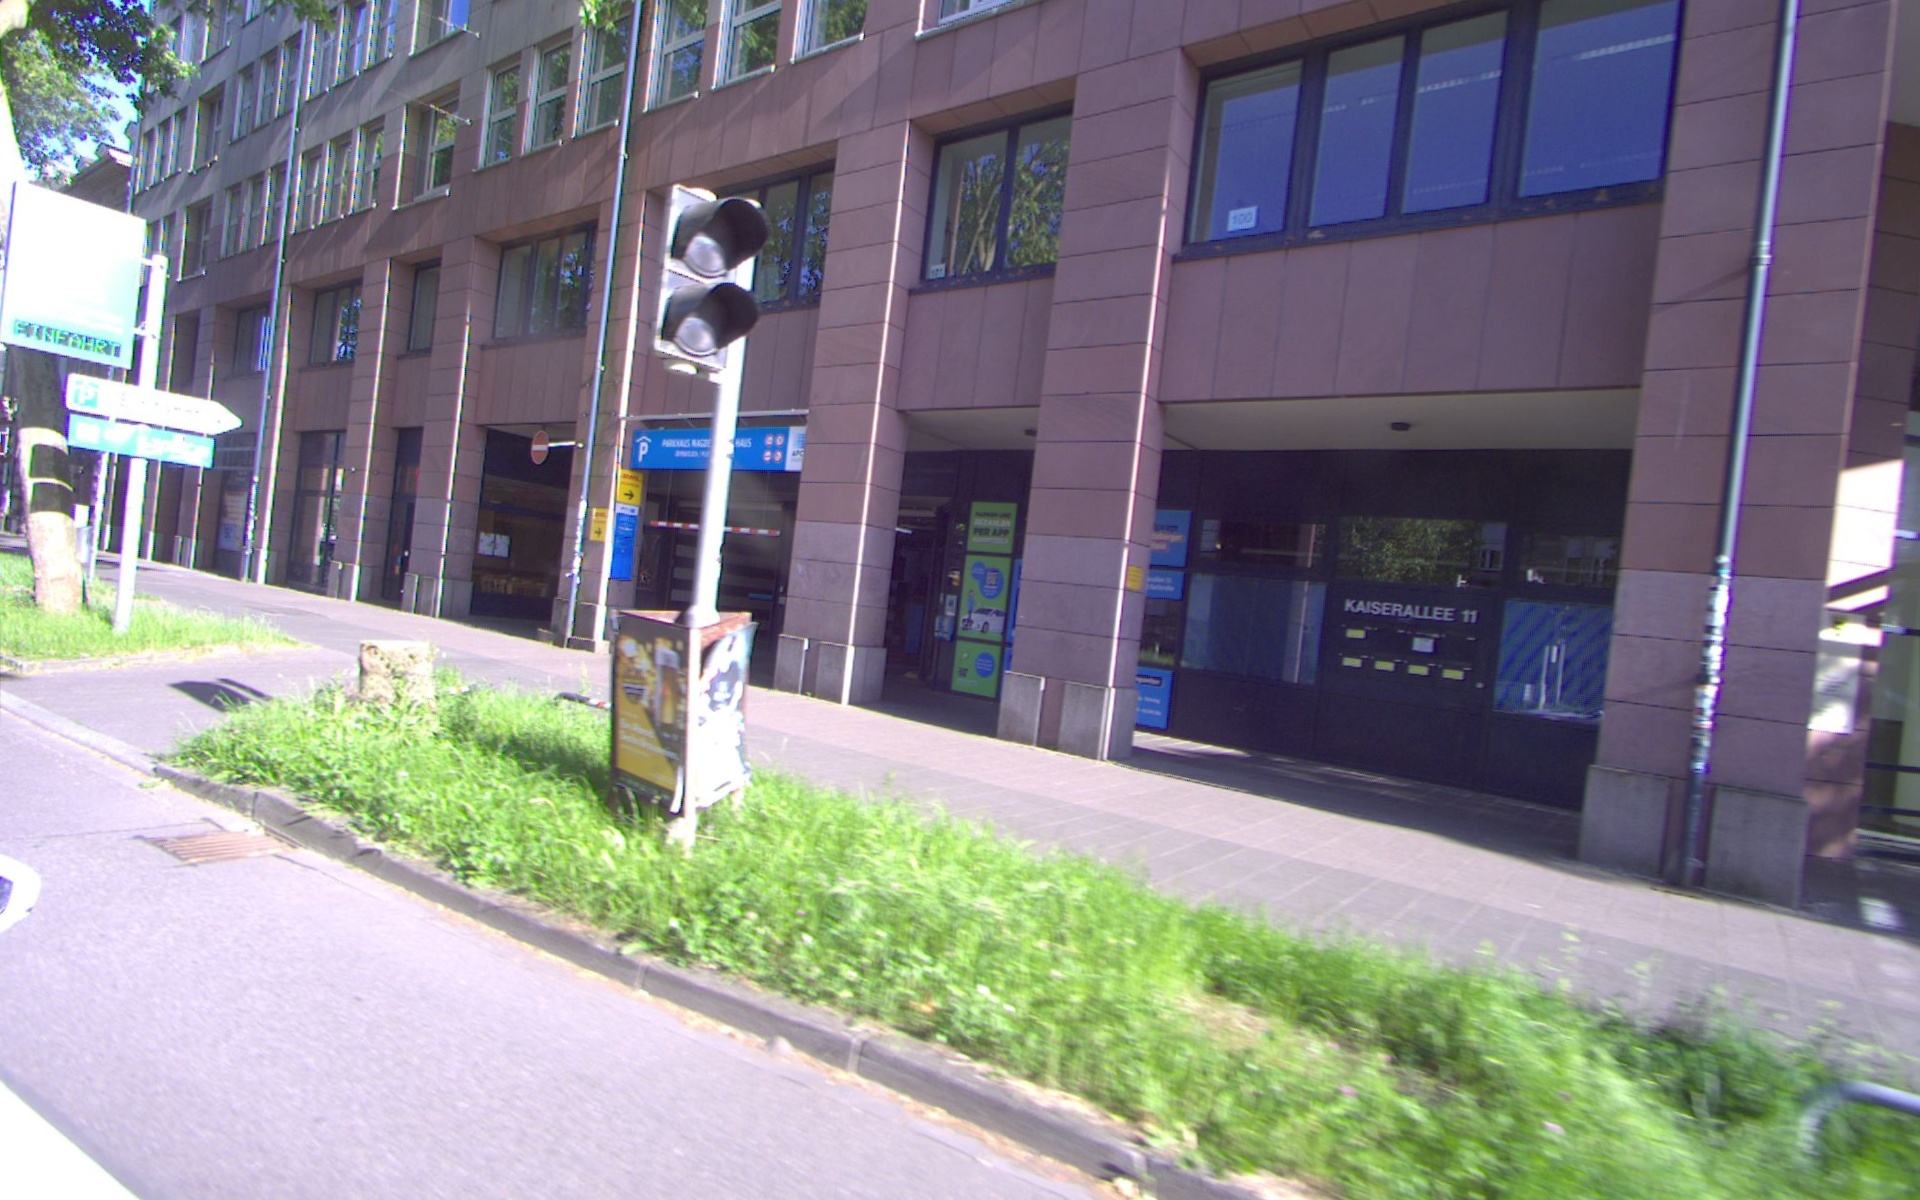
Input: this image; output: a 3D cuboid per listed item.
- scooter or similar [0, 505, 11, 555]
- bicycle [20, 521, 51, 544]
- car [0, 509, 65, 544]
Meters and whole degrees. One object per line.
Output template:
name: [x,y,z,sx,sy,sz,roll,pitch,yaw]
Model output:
scooter or similar: [-24.708,-1.839,24.975,0.442,1.252,1.540,7,0,37]
bicycle: [-35.597,-2.594,38.721,1.637,0.783,0.548,6,1,36]
car: [-51.831,-4.141,55.056,1.642,1.491,3.939,6,-3,40]
